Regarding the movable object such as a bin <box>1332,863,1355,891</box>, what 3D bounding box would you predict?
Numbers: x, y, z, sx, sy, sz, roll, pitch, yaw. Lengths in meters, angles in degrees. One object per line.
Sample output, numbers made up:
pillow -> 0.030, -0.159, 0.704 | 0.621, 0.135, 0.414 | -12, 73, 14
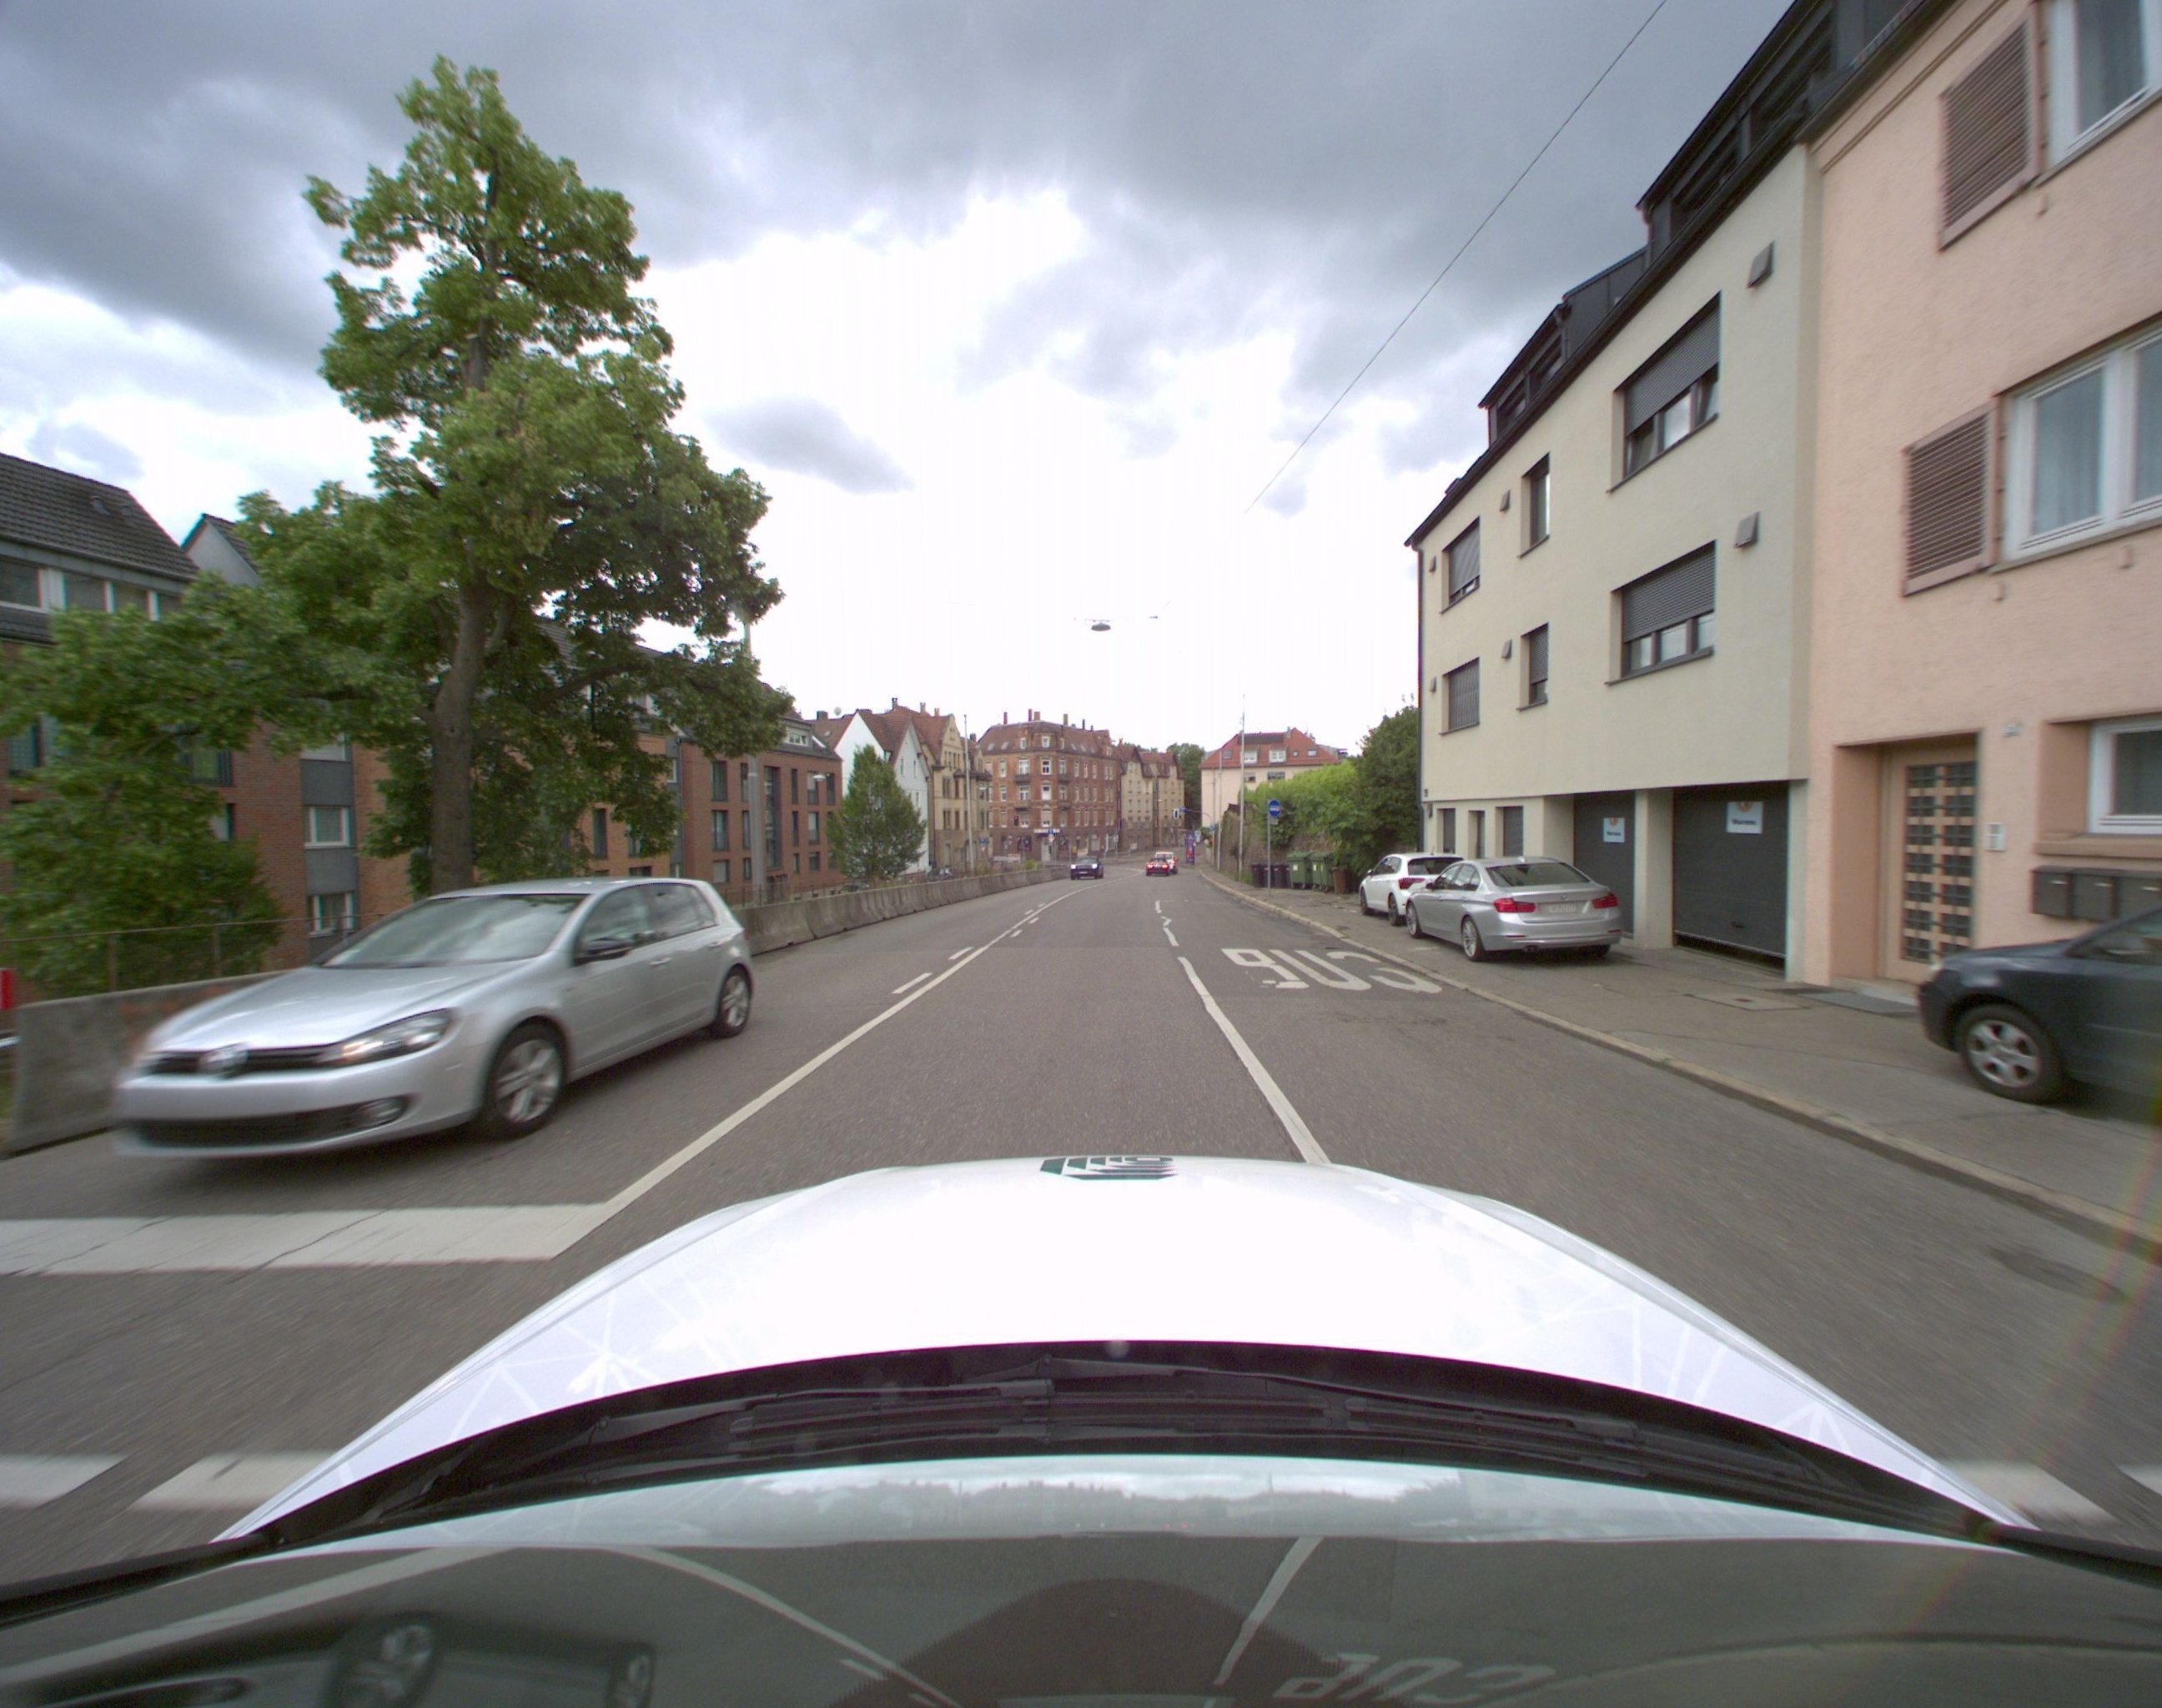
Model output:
movable object such as a bin -> 8.826, 0.768, 27.378 | 0.592, 0.942, 0.641 | -1, -1, 3

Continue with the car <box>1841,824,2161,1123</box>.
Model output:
car -> 6.286, 0.576, 3.839 | 1.675, 1.451, 4.002 | -5, -1, 2

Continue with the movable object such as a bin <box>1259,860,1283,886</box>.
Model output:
movable object such as a bin -> 7.907, 0.782, 33.891 | 0.743, 1.058, 0.676 | -1, -1, -13

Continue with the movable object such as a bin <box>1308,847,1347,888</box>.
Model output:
movable object such as a bin -> 9.003, 0.480, 29.805 | 1.044, 1.445, 1.205 | -1, -1, 0

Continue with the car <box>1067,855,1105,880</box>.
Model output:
car -> 0.405, 0.924, 56.943 | 1.971, 1.575, 4.385 | -3, 0, 8

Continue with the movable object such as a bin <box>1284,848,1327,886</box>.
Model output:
movable object such as a bin -> 8.672, 0.504, 31.539 | 1.048, 1.445, 1.412 | -1, -1, -13

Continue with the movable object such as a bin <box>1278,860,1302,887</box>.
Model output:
movable object such as a bin -> 8.336, 0.760, 32.504 | 0.710, 1.058, 0.545 | -1, -1, -13

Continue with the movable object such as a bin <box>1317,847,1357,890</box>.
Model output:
movable object such as a bin -> 8.900, 0.493, 28.399 | 1.043, 1.445, 1.206 | -1, -1, 3

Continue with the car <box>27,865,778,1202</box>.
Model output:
car -> -3.900, 0.853, 5.814 | 1.714, 1.445, 4.161 | -3, -1, 2

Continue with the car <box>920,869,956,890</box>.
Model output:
car -> -12.467, 2.208, 71.195 | 1.783, 1.510, 4.012 | -2, 1, 10

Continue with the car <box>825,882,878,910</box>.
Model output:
car -> -15.557, 2.842, 55.431 | 1.783, 1.608, 4.227 | -3, 0, 10

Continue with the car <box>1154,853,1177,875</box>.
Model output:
car -> 7.382, 0.835, 71.123 | 1.899, 1.884, 4.008 | 0, 0, 7

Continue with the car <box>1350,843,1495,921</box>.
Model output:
car -> 7.229, 0.544, 17.695 | 1.785, 1.423, 4.012 | -3, -1, 6

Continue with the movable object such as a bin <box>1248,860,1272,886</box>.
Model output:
movable object such as a bin -> 7.590, 0.795, 34.540 | 0.743, 1.058, 0.676 | -1, -1, -13

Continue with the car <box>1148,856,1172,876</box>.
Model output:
car -> 6.241, 0.922, 64.123 | 1.807, 1.430, 4.008 | 0, 0, 7

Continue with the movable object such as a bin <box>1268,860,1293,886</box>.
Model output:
movable object such as a bin -> 8.119, 0.772, 33.134 | 0.743, 1.058, 0.676 | -1, -1, -13

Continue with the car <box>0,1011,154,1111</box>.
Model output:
car -> -21.947, 4.307, 16.344 | 1.783, 1.510, 4.010 | -3, 0, 9

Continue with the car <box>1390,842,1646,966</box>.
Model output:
car -> 6.460, 0.623, 12.746 | 1.785, 1.451, 4.726 | -4, 0, 6
